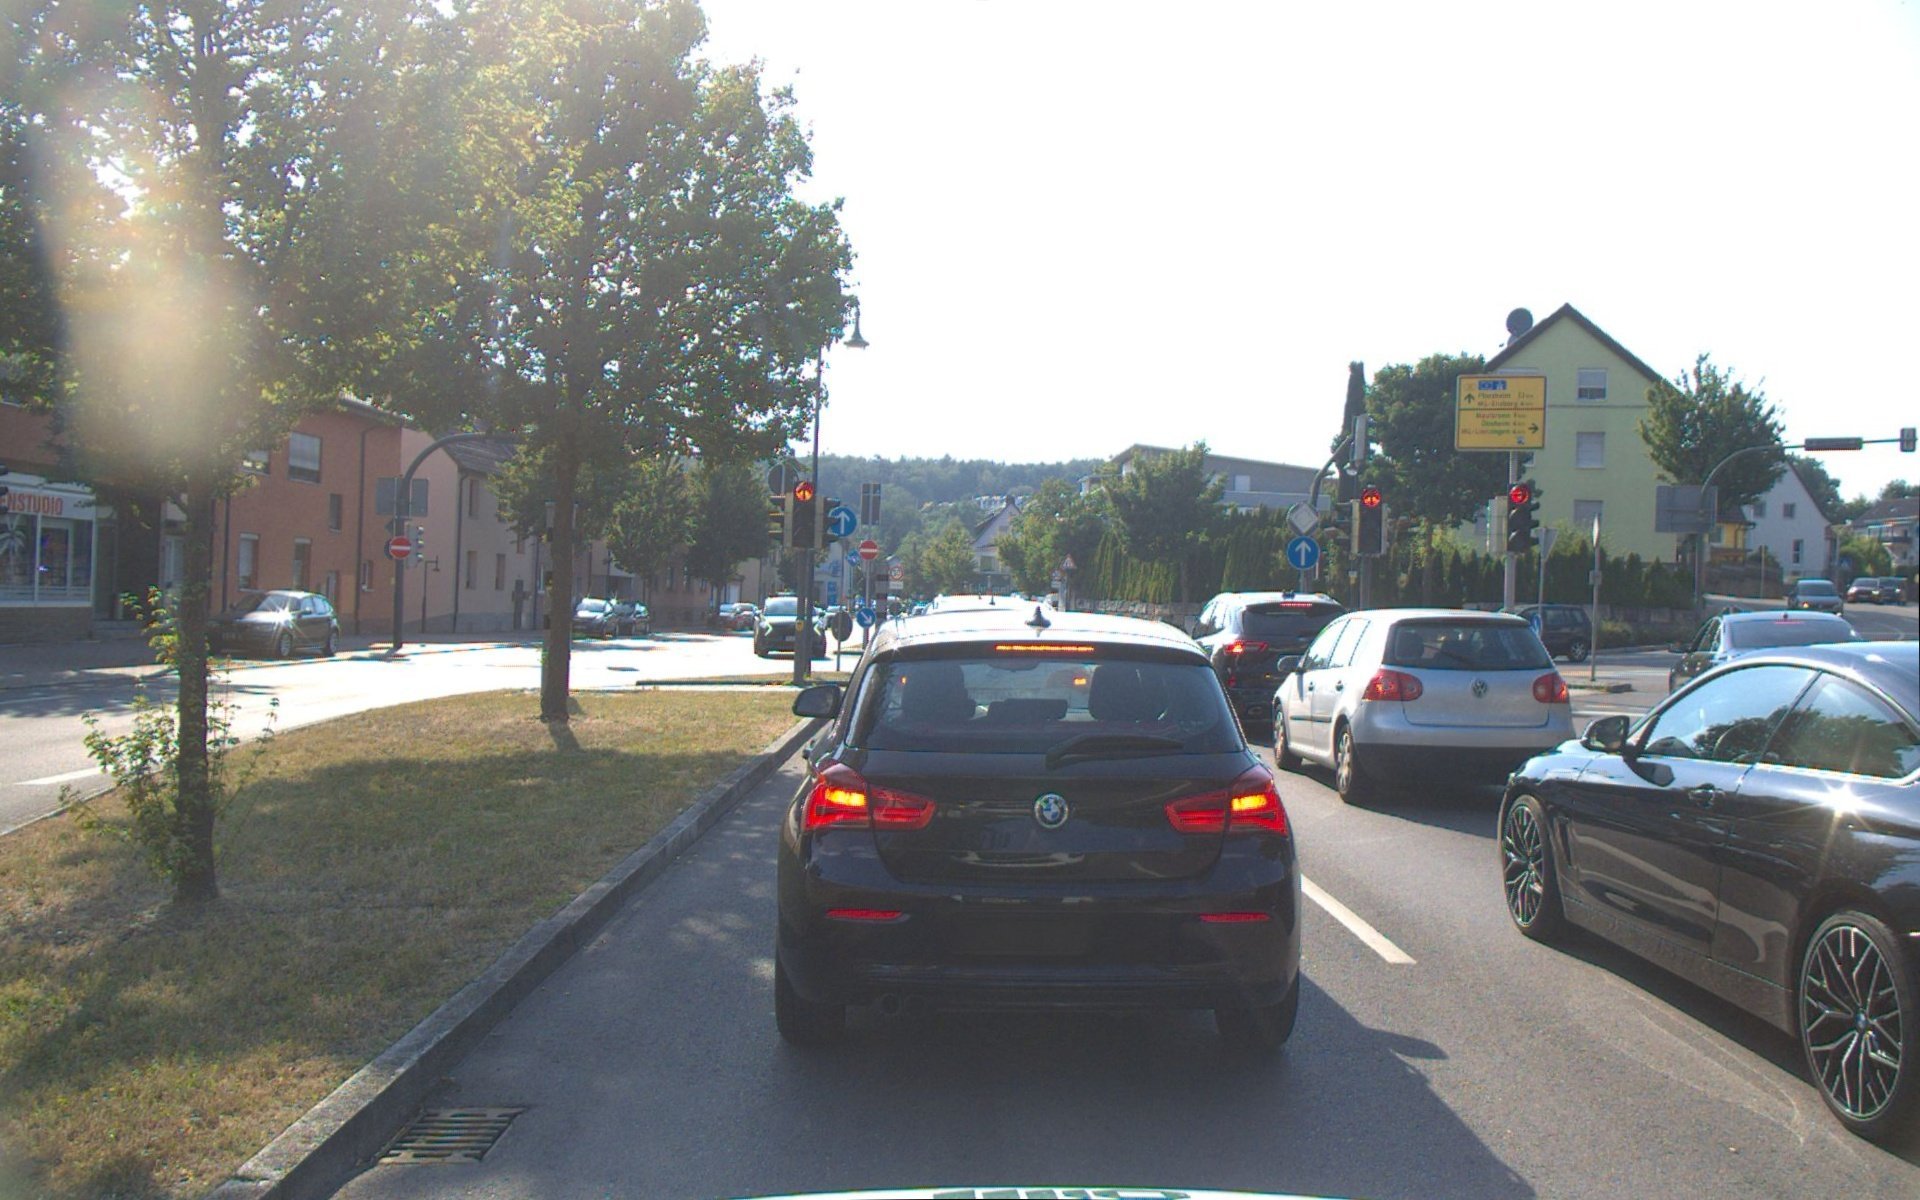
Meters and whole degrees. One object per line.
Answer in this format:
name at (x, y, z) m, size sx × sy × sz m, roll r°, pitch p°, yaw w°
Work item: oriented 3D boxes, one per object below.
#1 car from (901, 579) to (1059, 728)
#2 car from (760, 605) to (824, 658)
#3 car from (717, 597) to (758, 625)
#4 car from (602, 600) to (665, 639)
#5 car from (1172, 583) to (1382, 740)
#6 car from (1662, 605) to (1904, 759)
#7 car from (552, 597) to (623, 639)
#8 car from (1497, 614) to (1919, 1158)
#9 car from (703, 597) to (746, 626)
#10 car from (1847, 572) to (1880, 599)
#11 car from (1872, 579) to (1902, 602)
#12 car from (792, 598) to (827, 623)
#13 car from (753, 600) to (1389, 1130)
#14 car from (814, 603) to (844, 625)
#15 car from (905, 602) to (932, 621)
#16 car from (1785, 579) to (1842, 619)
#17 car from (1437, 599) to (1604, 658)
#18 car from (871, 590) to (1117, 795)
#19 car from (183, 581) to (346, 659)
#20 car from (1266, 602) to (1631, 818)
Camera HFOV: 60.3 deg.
car at (0.258, 0.609, 20.955) m, size 1.779 × 1.670 × 4.242 m, roll 1°, pitch 0°, yaw 1°
car at (-4.782, 0.854, 46.718) m, size 1.661 × 1.377 × 3.993 m, roll 1°, pitch 0°, yaw -7°
car at (-13.763, 0.665, 102.591) m, size 1.884 × 1.624 × 4.000 m, roll 1°, pitch 0°, yaw 1°
car at (-14.407, 0.849, 73.133) m, size 1.884 × 1.624 × 4.000 m, roll 1°, pitch 0°, yaw 1°
car at (3.748, 0.666, 20.295) m, size 1.779 × 1.695 × 4.347 m, roll 1°, pitch 0°, yaw 1°
car at (9.029, 0.803, 18.501) m, size 1.645 × 1.460 × 4.592 m, roll 1°, pitch 0°, yaw 17°
car at (-15.024, 0.689, 66.941) m, size 1.884 × 1.624 × 4.000 m, roll 1°, pitch 0°, yaw 1°
car at (3.480, 0.793, 5.868) m, size 1.779 × 1.413 × 4.347 m, roll 1°, pitch 0°, yaw 1°
car at (-13.810, 0.675, 97.085) m, size 1.884 × 1.624 × 4.000 m, roll 1°, pitch 0°, yaw 1°
car at (56.645, -0.914, 103.728) m, size 1.742 × 1.607 × 3.993 m, roll 1°, pitch 0°, yaw 29°
car at (68.933, -0.688, 122.949) m, size 1.744 × 1.607 × 3.990 m, roll 1°, pitch 0°, yaw 32°
car at (-10.168, 0.709, 111.878) m, size 1.884 × 1.624 × 4.000 m, roll 1°, pitch 0°, yaw 1°
car at (0.339, 0.738, 6.785) m, size 1.754 × 1.439 × 4.347 m, roll 1°, pitch 0°, yaw 1°
car at (-9.979, 1.033, 126.689) m, size 1.884 × 1.624 × 4.000 m, roll 1°, pitch 0°, yaw 1°
car at (-3.491, 0.925, 138.687) m, size 1.826 × 1.511 × 4.652 m, roll 1°, pitch 0°, yaw -6°
car at (31.783, -0.063, 61.671) m, size 1.676 × 1.265 × 3.999 m, roll 1°, pitch 3°, yaw 24°
car at (15.229, 0.772, 44.980) m, size 3.990 × 1.533 × 1.784 m, roll 1°, pitch 0°, yaw -16°
car at (0.280, 0.671, 14.215) m, size 1.779 × 1.476 × 4.242 m, roll 1°, pitch 0°, yaw 1°
car at (-15.597, 0.423, 37.313) m, size 1.805 × 1.579 × 4.001 m, roll 3°, pitch 0°, yaw 2°
car at (3.803, 0.768, 13.697) m, size 1.779 × 1.471 × 4.347 m, roll 1°, pitch 0°, yaw 1°
